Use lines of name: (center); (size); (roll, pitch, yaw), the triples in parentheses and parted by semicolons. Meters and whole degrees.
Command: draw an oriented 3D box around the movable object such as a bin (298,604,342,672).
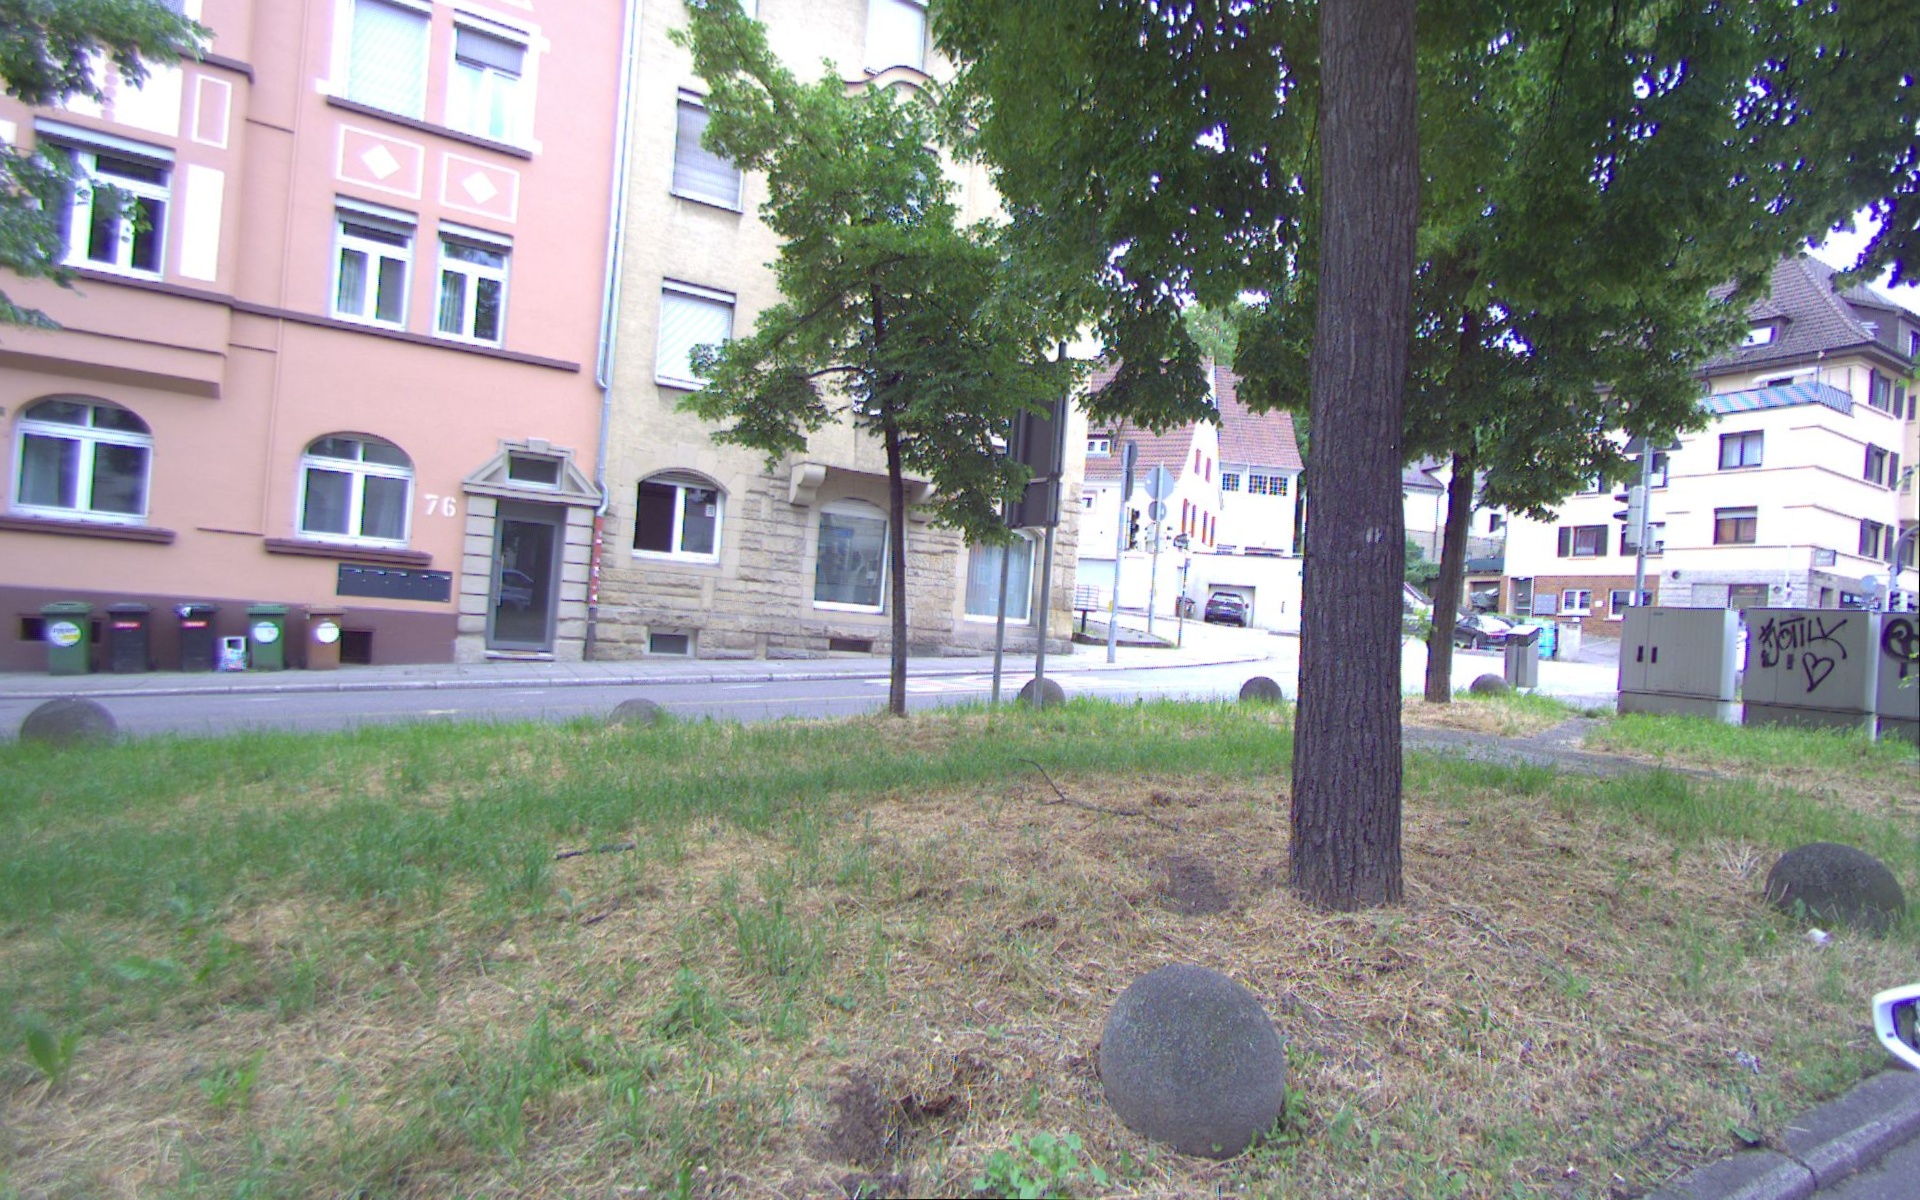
movable object such as a bin: (-9.287, 0.543, 14.567); (0.510, 0.934, 0.752); (2, 0, -34)

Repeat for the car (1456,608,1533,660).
car: (21.822, 1.332, 41.162); (1.832, 1.619, 3.519); (2, 6, 13)

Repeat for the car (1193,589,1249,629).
car: (11.605, 0.359, 44.782); (1.639, 1.424, 3.057); (7, 3, 2)

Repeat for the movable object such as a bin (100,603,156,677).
movable object such as a bin: (-11.157, 0.528, 13.483); (0.528, 0.958, 0.576); (2, 0, -36)

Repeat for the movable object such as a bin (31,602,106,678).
movable object such as a bin: (-11.653, 0.513, 13.151); (0.611, 0.961, 0.613); (2, 0, -31)

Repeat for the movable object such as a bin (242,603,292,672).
movable object such as a bin: (-9.815, 0.525, 14.243); (0.554, 0.934, 0.649); (2, 0, -34)
